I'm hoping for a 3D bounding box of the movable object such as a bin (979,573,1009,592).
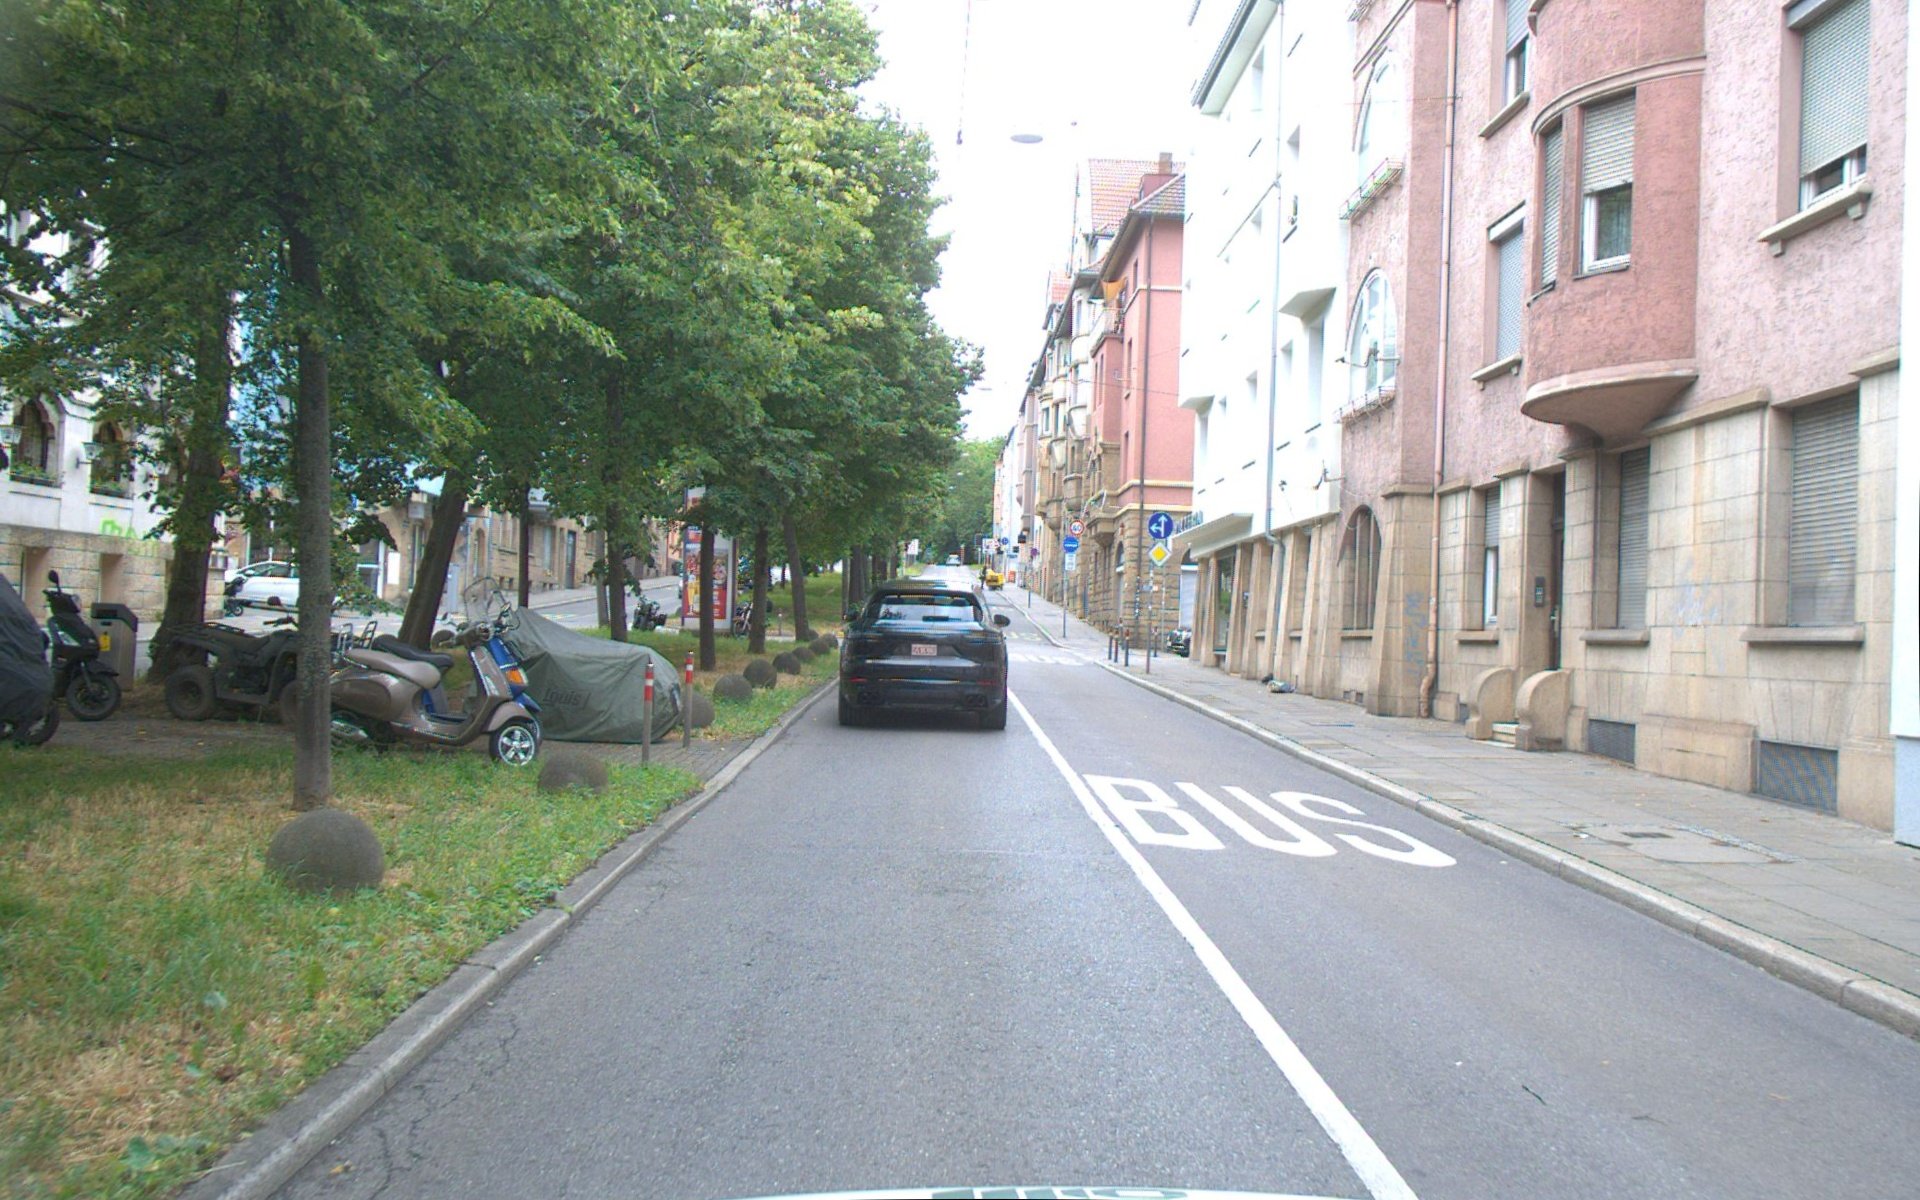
[{"bbox_3d":[2.438,-1.286,118.410,1.229,1.296,1.820,2,0,-39],"label":"movable object such as a bin"}]

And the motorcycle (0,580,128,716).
[{"bbox_3d":[-9.232,0.443,15.977,2.067,1.257,0.516,2,0,-3],"label":"motorcycle"}]

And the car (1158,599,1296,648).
[{"bbox_3d":[8.166,0.708,50.541,3.955,1.400,1.975,1,0,-36],"label":"car"}]

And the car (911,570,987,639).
[{"bbox_3d":[-0.304,0.116,46.081,1.953,1.784,4.000,2,0,0],"label":"car"}]

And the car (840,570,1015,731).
[{"bbox_3d":[-0.432,0.550,20.175,1.865,1.695,4.134,2,0,-2],"label":"car"}]

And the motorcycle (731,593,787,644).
[{"bbox_3d":[-4.861,0.436,40.160,1.041,1.168,2.448,1,0,0],"label":"motorcycle"}]

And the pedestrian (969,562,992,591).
[{"bbox_3d":[1.496,-1.697,119.430,1.291,2.049,1.007,2,0,-37],"label":"pedestrian"}]

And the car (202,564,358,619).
[{"bbox_3d":[-20.724,-0.255,50.550,3.906,1.523,2.000,2,0,-1],"label":"car"}]

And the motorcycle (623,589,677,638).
[{"bbox_3d":[-7.474,0.337,39.991,0.882,1.126,2.251,1,-2,0],"label":"motorcycle"}]

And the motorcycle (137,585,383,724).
[{"bbox_3d":[-6.801,0.512,16.140,1.986,1.257,0.897,2,0,4],"label":"motorcycle"}]

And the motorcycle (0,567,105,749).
[{"bbox_3d":[-8.093,0.398,12.825,2.334,1.340,1.045,2,0,-2],"label":"motorcycle"}]

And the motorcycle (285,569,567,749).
[{"bbox_3d":[-4.138,0.461,12.947,1.886,1.319,0.893,1,-2,-3],"label":"motorcycle"}]

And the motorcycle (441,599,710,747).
[{"bbox_3d":[-3.619,0.675,15.768,2.308,1.257,1.033,2,2,-3],"label":"motorcycle"}]

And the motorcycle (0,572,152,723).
[{"bbox_3d":[-8.553,0.432,15.391,1.727,1.362,0.624,1,-1,-3],"label":"motorcycle"}]

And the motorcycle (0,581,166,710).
[{"bbox_3d":[-9.204,0.451,16.636,2.087,1.257,0.622,1,-1,-1],"label":"motorcycle"}]

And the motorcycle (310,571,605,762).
[{"bbox_3d":[-4.186,0.540,13.899,2.149,1.463,0.874,2,0,1],"label":"motorcycle"}]
